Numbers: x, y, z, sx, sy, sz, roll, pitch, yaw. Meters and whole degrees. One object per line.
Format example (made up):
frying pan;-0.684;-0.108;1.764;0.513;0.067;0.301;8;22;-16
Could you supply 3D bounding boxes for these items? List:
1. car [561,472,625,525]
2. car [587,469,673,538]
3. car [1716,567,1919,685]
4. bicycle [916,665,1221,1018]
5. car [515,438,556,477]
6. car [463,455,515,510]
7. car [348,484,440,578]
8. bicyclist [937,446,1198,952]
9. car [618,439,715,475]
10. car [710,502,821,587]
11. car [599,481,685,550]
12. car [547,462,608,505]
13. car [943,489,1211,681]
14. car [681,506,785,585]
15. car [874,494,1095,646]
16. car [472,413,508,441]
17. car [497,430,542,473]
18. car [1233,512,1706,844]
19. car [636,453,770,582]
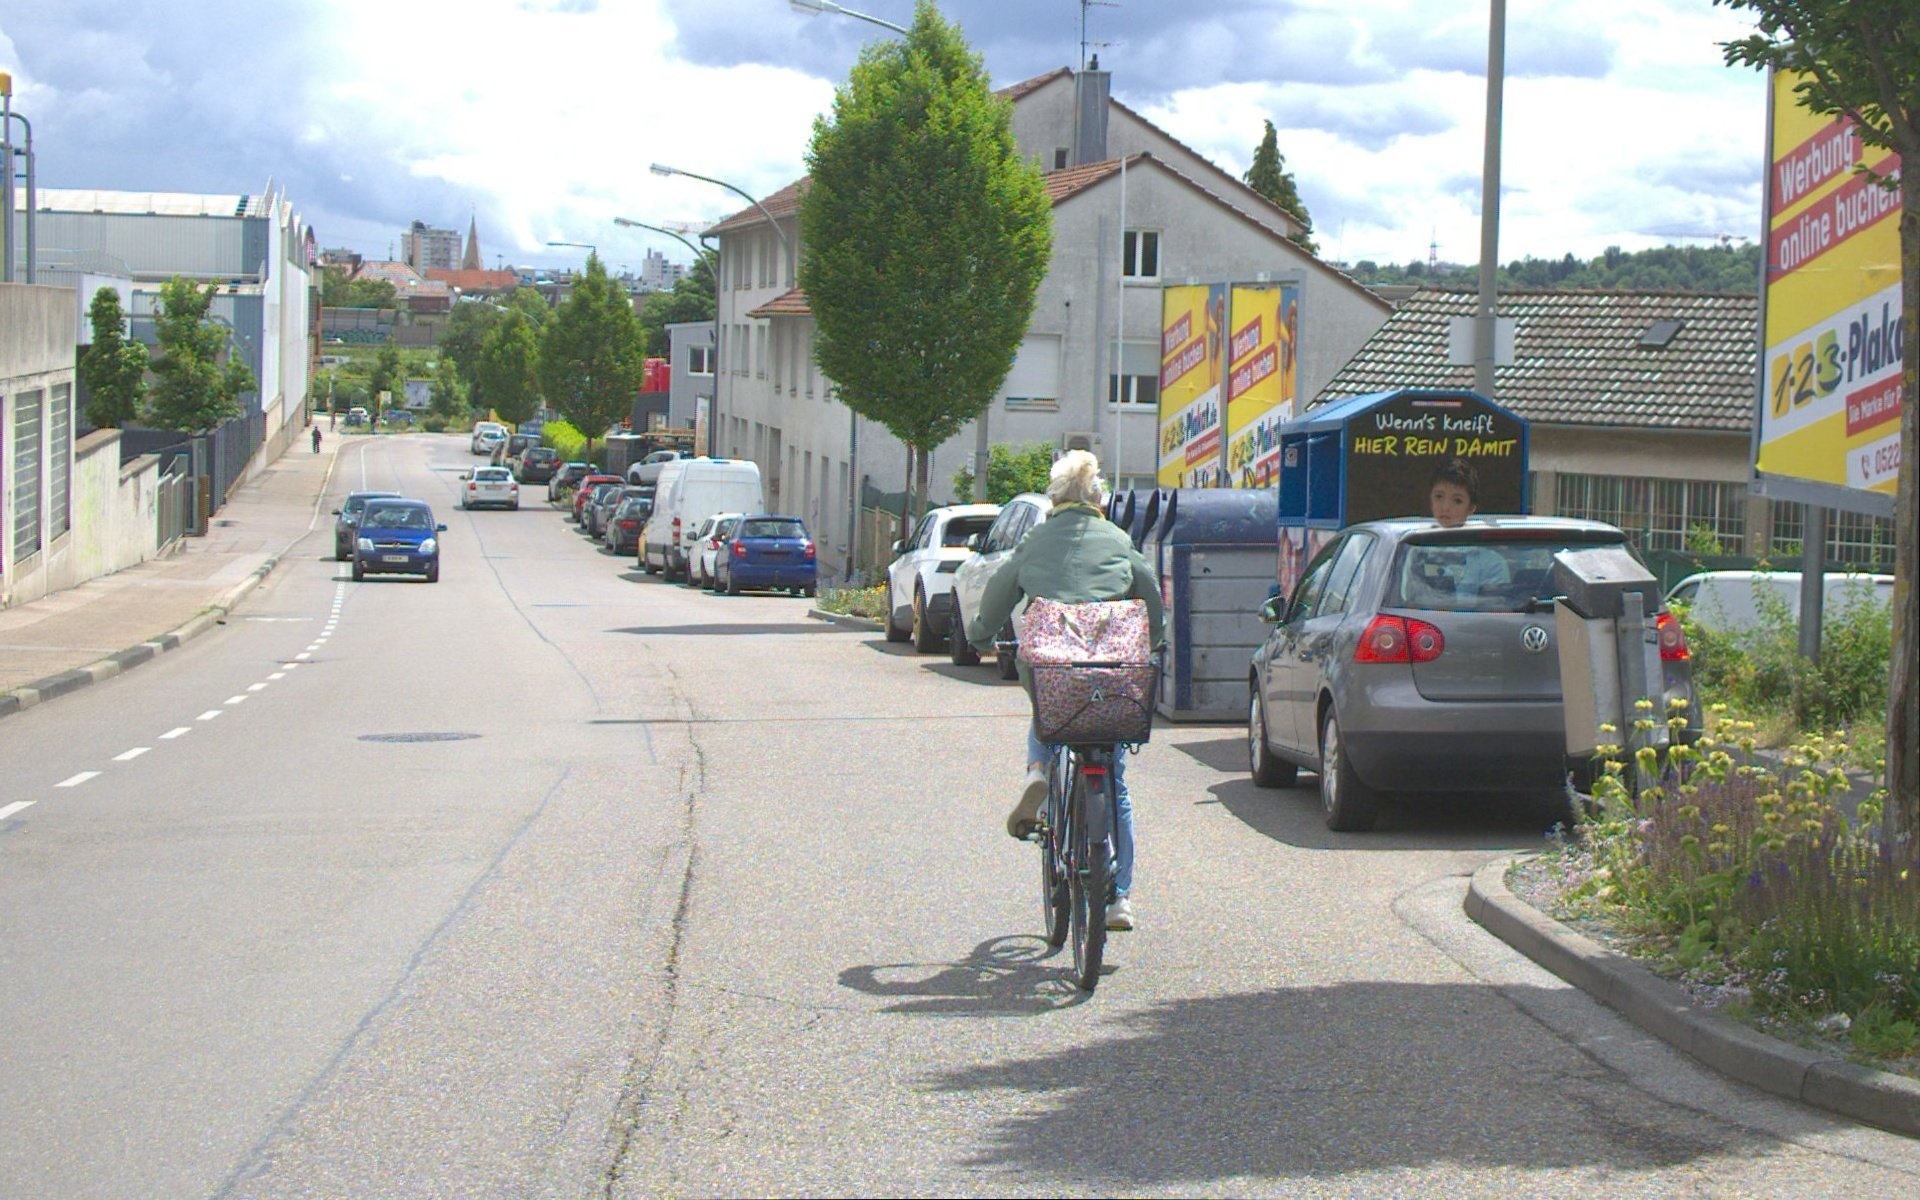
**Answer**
car;-11.631;-3.221;108.663;1.734;1.467;4.263;2;4;-9
car;-9.302;-2.724;96.623;1.676;1.632;4.799;3;4;-13
car;12.666;0.368;47.296;4.040;1.385;1.740;5;4;41
bicycle;0.323;0.757;11.373;0.740;0.972;1.733;1;2;-6
car;-18.632;-6.264;150.810;1.679;1.632;4.124;1;3;-8
car;-15.836;-3.936;115.408;1.566;1.780;3.607;1;1;-10
car;-11.173;-1.370;67.758;1.626;1.811;3.781;0;1;-12
bicyclist;0.346;0.315;11.454;0.739;1.621;0.732;1;1;-6
car;-12.426;-6.035;145.210;4.072;1.457;1.721;2;5;42
car;-3.670;-1.050;64.180;1.566;1.505;4.095;1;1;-10
car;-8.460;-2.255;91.118;1.704;1.504;5.090;3;3;-11
car;-13.883;-4.244;124.609;1.790;1.460;4.710;1;3;-11
car;1.009;-0.181;32.078;1.685;1.653;4.481;0;1;-9
car;-4.586;-1.118;68.996;1.592;1.505;3.791;1;1;-11
car;0.201;-0.366;37.959;1.841;1.560;4.467;-1;1;-7
car;-28.534;-10.508;208.810;1.700;1.522;3.740;4;3;-14
car;-21.195;-7.151;165.403;1.868;1.983;5.146;1;3;-10
car;2.453;0.301;17.465;1.655;1.480;4.045;0;1;-2
car;-5.666;-1.801;74.915;2.032;2.632;7.285;1;1;-11
